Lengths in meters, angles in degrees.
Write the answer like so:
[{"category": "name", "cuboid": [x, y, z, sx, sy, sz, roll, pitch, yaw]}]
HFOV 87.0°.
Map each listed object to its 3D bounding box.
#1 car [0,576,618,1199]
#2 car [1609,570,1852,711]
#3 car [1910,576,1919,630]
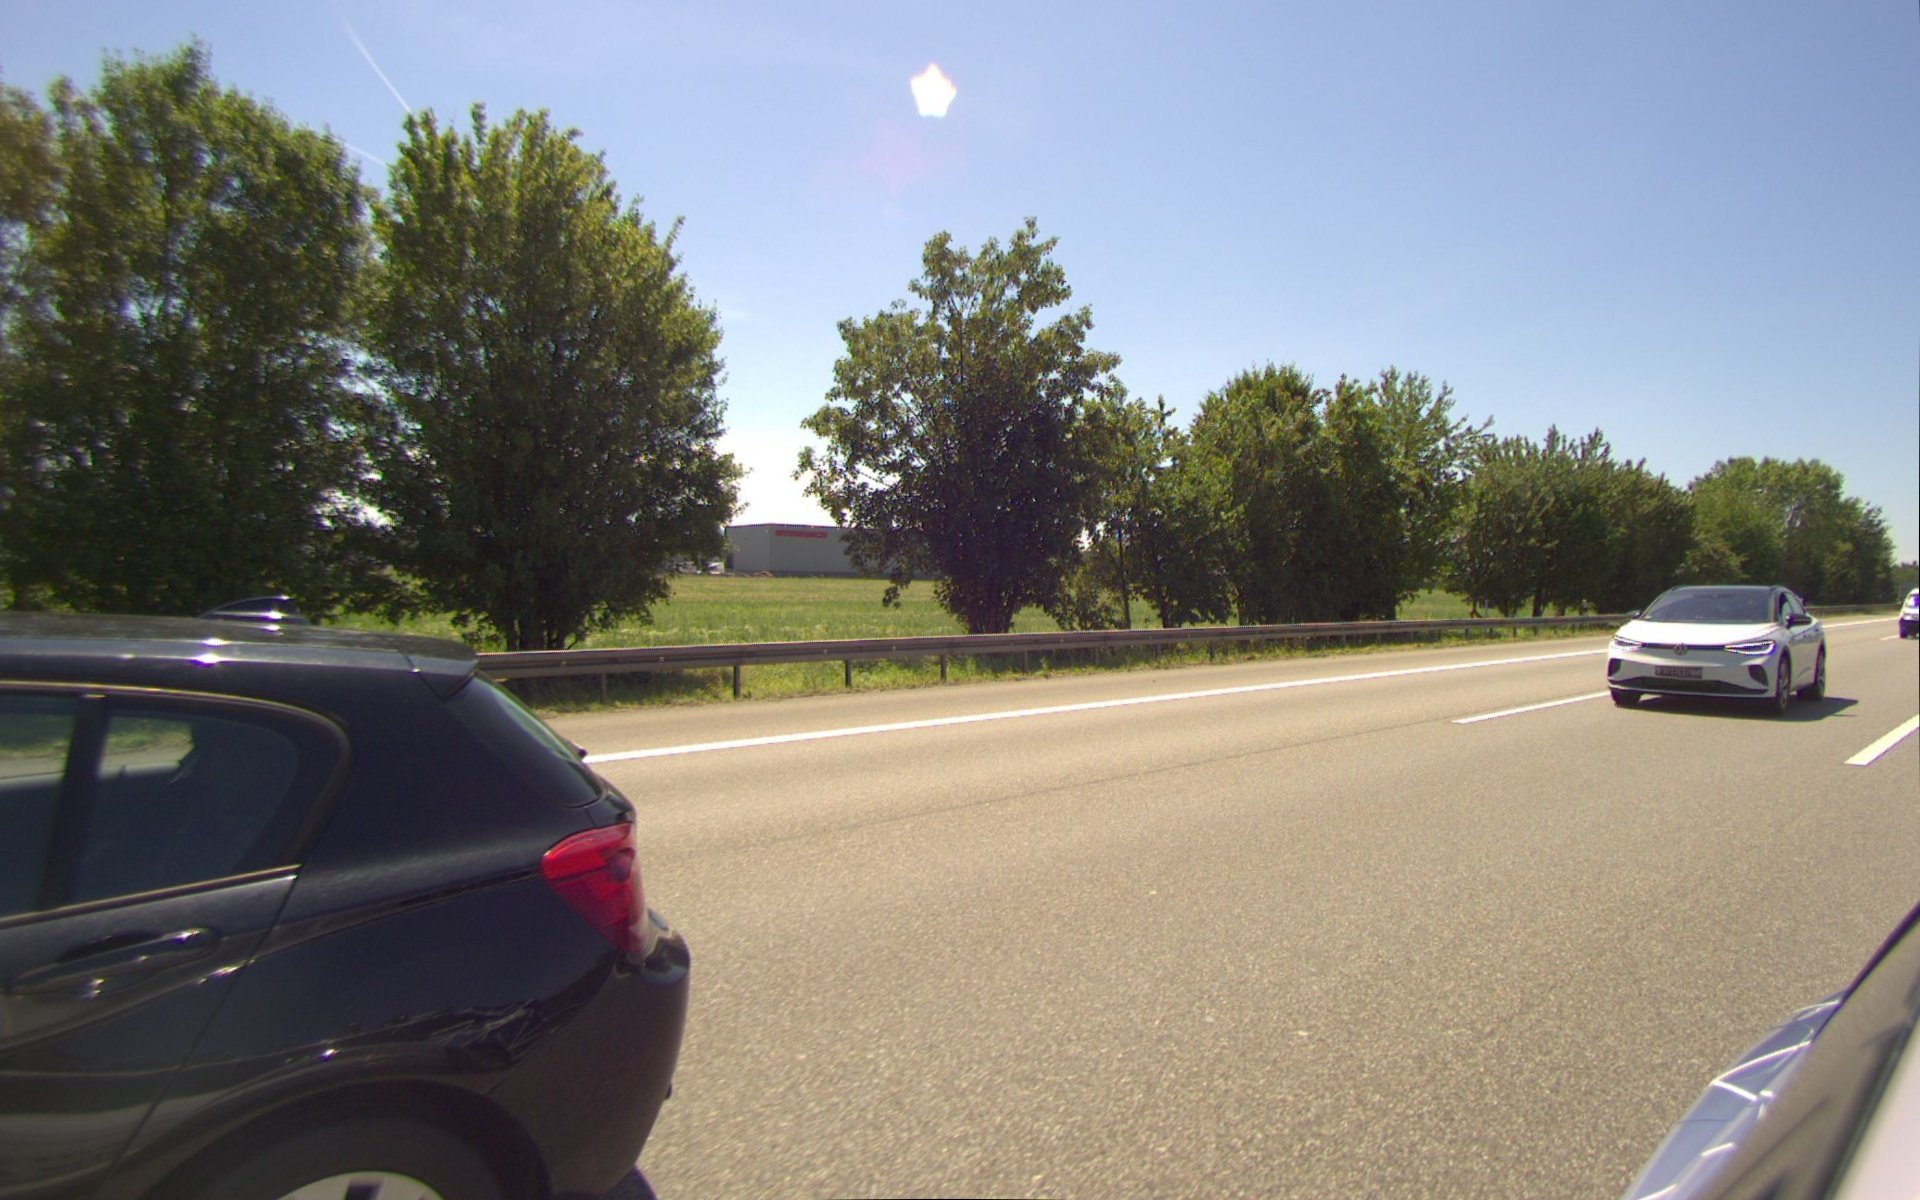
[{"category": "car", "cuboid": [-2.882, 0.689, 1.088, 4.419, 1.435, 1.840, -1, 2, -41]}, {"category": "car", "cuboid": [10.655, 0.438, 13.909, 3.930, 1.664, 1.886, -1, 1, -41]}, {"category": "car", "cuboid": [35.404, 0.107, 36.021, 4.389, 1.895, 1.886, -1, 1, -41]}]
